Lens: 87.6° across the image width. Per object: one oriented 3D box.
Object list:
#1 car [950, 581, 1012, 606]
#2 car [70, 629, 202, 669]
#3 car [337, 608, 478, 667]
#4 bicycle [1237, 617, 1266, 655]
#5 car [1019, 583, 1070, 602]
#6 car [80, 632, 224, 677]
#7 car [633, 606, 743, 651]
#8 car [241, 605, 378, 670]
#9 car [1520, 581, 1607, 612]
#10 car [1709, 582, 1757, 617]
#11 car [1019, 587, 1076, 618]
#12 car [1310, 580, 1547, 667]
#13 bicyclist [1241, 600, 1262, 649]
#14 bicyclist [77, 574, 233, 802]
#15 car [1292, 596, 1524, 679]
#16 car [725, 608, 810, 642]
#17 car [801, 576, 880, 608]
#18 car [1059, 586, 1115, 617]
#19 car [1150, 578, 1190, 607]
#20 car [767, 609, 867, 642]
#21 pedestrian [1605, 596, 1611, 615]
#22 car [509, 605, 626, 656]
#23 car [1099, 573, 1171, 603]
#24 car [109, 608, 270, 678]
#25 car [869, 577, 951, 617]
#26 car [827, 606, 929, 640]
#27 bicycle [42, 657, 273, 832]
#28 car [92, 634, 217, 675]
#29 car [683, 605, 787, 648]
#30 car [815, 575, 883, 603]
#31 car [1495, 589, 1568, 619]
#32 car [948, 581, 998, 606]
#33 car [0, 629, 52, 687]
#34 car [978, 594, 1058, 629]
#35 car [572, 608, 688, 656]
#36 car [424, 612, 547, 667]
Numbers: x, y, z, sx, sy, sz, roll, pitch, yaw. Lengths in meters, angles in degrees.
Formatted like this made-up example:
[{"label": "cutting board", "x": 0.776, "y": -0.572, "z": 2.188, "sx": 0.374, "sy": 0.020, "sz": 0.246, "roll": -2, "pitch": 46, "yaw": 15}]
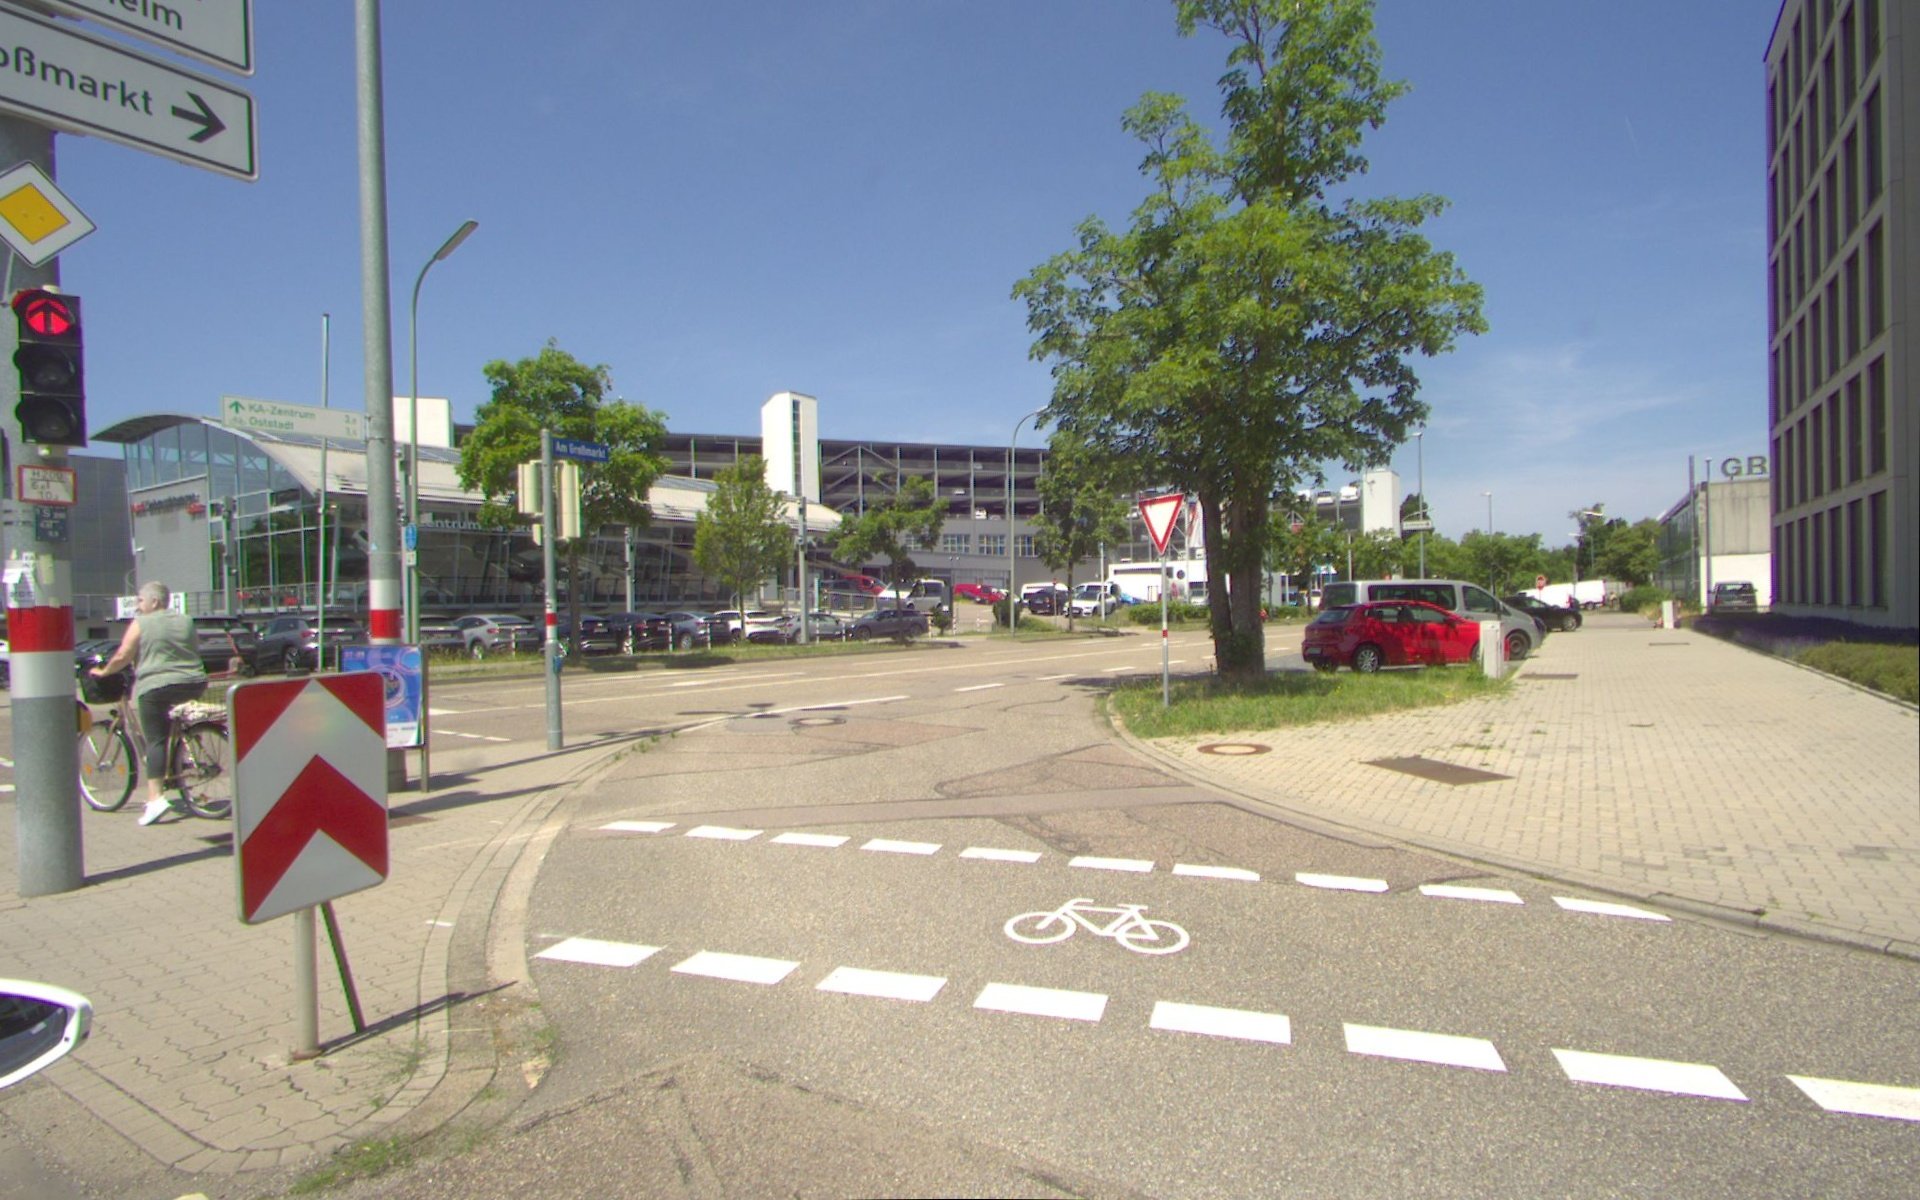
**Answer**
[{"label": "car", "x": 1.652, "y": -0.492, "z": 78.021, "sx": 4.525, "sy": 1.821, "sz": 1.903, "roll": -1, "pitch": 0, "yaw": 34}, {"label": "car", "x": -34.782, "y": 2.082, "z": 42.368, "sx": 1.610, "sy": 1.593, "sz": 3.977, "roll": -1, "pitch": -3, "yaw": 32}, {"label": "car", "x": -16.556, "y": 1.144, "z": 30.002, "sx": 3.937, "sy": 1.675, "sz": 1.844, "roll": -1, "pitch": -3, "yaw": 28}, {"label": "bicycle", "x": 8.910, "y": 1.085, "z": 30.541, "sx": 0.462, "sy": 1.079, "sz": 1.782, "roll": -1, "pitch": 0, "yaw": 29}, {"label": "car", "x": 7.801, "y": -0.697, "z": 92.266, "sx": 4.294, "sy": 1.674, "sz": 1.904, "roll": -1, "pitch": 0, "yaw": 31}, {"label": "car", "x": -30.871, "y": 2.065, "z": 38.387, "sx": 1.633, "sy": 1.642, "sz": 3.980, "roll": -1, "pitch": -3, "yaw": 32}, {"label": "car", "x": -10.551, "y": 1.141, "z": 38.870, "sx": 3.937, "sy": 1.675, "sz": 1.844, "roll": -1, "pitch": -3, "yaw": 28}, {"label": "car", "x": -17.919, "y": 1.056, "z": 27.559, "sx": 3.946, "sy": 1.675, "sz": 1.840, "roll": -2, "pitch": -3, "yaw": 35}, {"label": "car", "x": 54.512, "y": -0.310, "z": 90.509, "sx": 6.606, "sy": 2.552, "sz": 2.206, "roll": -1, "pitch": -2, "yaw": 35}, {"label": "car", "x": 42.211, "y": 0.019, "z": 54.741, "sx": 1.772, "sy": 1.750, "sz": 3.978, "roll": -1, "pitch": -2, "yaw": 34}, {"label": "car", "x": 5.401, "y": 0.184, "z": 61.281, "sx": 1.970, "sy": 1.727, "sz": 3.983, "roll": -1, "pitch": -2, "yaw": 30}, {"label": "car", "x": 10.890, "y": 0.516, "z": 23.387, "sx": 4.841, "sy": 1.911, "sz": 1.918, "roll": 0, "pitch": 0, "yaw": -12}, {"label": "bicyclist", "x": 8.867, "y": 0.735, "z": 30.476, "sx": 0.449, "sy": 1.490, "sz": 0.714, "roll": -1, "pitch": 1, "yaw": 29}, {"label": "bicyclist", "x": -6.103, "y": 0.642, "z": 7.604, "sx": 0.812, "sy": 1.626, "sz": 0.628, "roll": -1, "pitch": -1, "yaw": 26}, {"label": "car", "x": 8.950, "y": 0.730, "z": 20.174, "sx": 3.923, "sy": 1.451, "sz": 1.699, "roll": -2, "pitch": -1, "yaw": -7}, {"label": "car", "x": -9.909, "y": 1.271, "z": 51.563, "sx": 3.938, "sy": 1.591, "sz": 1.842, "roll": -1, "pitch": 0, "yaw": -28}, {"label": "car", "x": -6.691, "y": -0.427, "z": 56.610, "sx": 1.888, "sy": 1.730, "sz": 4.560, "roll": -1, "pitch": 0, "yaw": 35}, {"label": "car", "x": 7.675, "y": 0.141, "z": 60.248, "sx": 1.970, "sy": 1.727, "sz": 3.983, "roll": -1, "pitch": -2, "yaw": 30}, {"label": "car", "x": 16.313, "y": -0.536, "z": 77.566, "sx": 1.812, "sy": 2.039, "sz": 3.981, "roll": -1, "pitch": -2, "yaw": 31}, {"label": "car", "x": -7.091, "y": 1.252, "z": 49.763, "sx": 4.527, "sy": 1.491, "sz": 1.902, "roll": -1, "pitch": 0, "yaw": -34}, {"label": "pedestrian", "x": 53.464, "y": 0.434, "z": 82.569, "sx": 0.399, "sy": 1.580, "sz": 0.546, "roll": -1, "pitch": 1, "yaw": 33}, {"label": "car", "x": -13.449, "y": 1.058, "z": 34.242, "sx": 3.851, "sy": 1.676, "sz": 1.627, "roll": -1, "pitch": -1, "yaw": 28}, {"label": "car", "x": 12.006, "y": -0.779, "z": 68.866, "sx": 4.521, "sy": 1.912, "sz": 1.904, "roll": -1, "pitch": 0, "yaw": 31}, {"label": "car", "x": -19.534, "y": 1.112, "z": 25.342, "sx": 4.442, "sy": 1.578, "sz": 1.863, "roll": -3, "pitch": 0, "yaw": 33}, {"label": "car", "x": -2.638, "y": -0.159, "z": 54.041, "sx": 1.885, "sy": 1.992, "sz": 5.228, "roll": -1, "pitch": 0, "yaw": 29}, {"label": "car", "x": -3.886, "y": 1.062, "z": 47.703, "sx": 4.554, "sy": 1.491, "sz": 1.839, "roll": -1, "pitch": 0, "yaw": -34}, {"label": "bicycle", "x": -6.105, "y": 1.038, "z": 7.602, "sx": 1.864, "sy": 1.148, "sz": 0.628, "roll": 0, "pitch": -1, "yaw": 26}, {"label": "car", "x": -32.976, "y": 2.208, "z": 41.084, "sx": 1.619, "sy": 1.600, "sz": 3.642, "roll": -1, "pitch": -3, "yaw": 32}, {"label": "car", "x": -9.264, "y": 1.129, "z": 41.148, "sx": 3.937, "sy": 1.675, "sz": 1.844, "roll": -1, "pitch": -3, "yaw": 28}, {"label": "car", "x": -7.320, "y": -0.712, "z": 66.141, "sx": 4.082, "sy": 1.745, "sz": 1.907, "roll": -1, "pitch": 0, "yaw": 25}, {"label": "car", "x": 41.492, "y": 0.306, "z": 72.696, "sx": 4.513, "sy": 2.039, "sz": 1.990, "roll": -1, "pitch": -2, "yaw": 33}, {"label": "car", "x": 0.985, "y": -0.447, "z": 74.537, "sx": 1.859, "sy": 1.728, "sz": 3.977, "roll": -1, "pitch": -1, "yaw": 33}, {"label": "car", "x": -25.156, "y": 1.401, "z": 24.105, "sx": 1.843, "sy": 1.407, "sz": 4.583, "roll": -2, "pitch": -3, "yaw": 34}, {"label": "car", "x": 2.976, "y": 0.555, "z": 50.324, "sx": 1.888, "sy": 1.717, "sz": 4.560, "roll": -1, "pitch": 0, "yaw": 35}, {"label": "car", "x": -12.088, "y": 1.186, "z": 36.631, "sx": 3.937, "sy": 1.675, "sz": 1.844, "roll": -1, "pitch": -3, "yaw": 28}, {"label": "car", "x": -15.077, "y": 1.204, "z": 31.783, "sx": 3.758, "sy": 1.637, "sz": 1.635, "roll": 0, "pitch": 0, "yaw": 28}]
